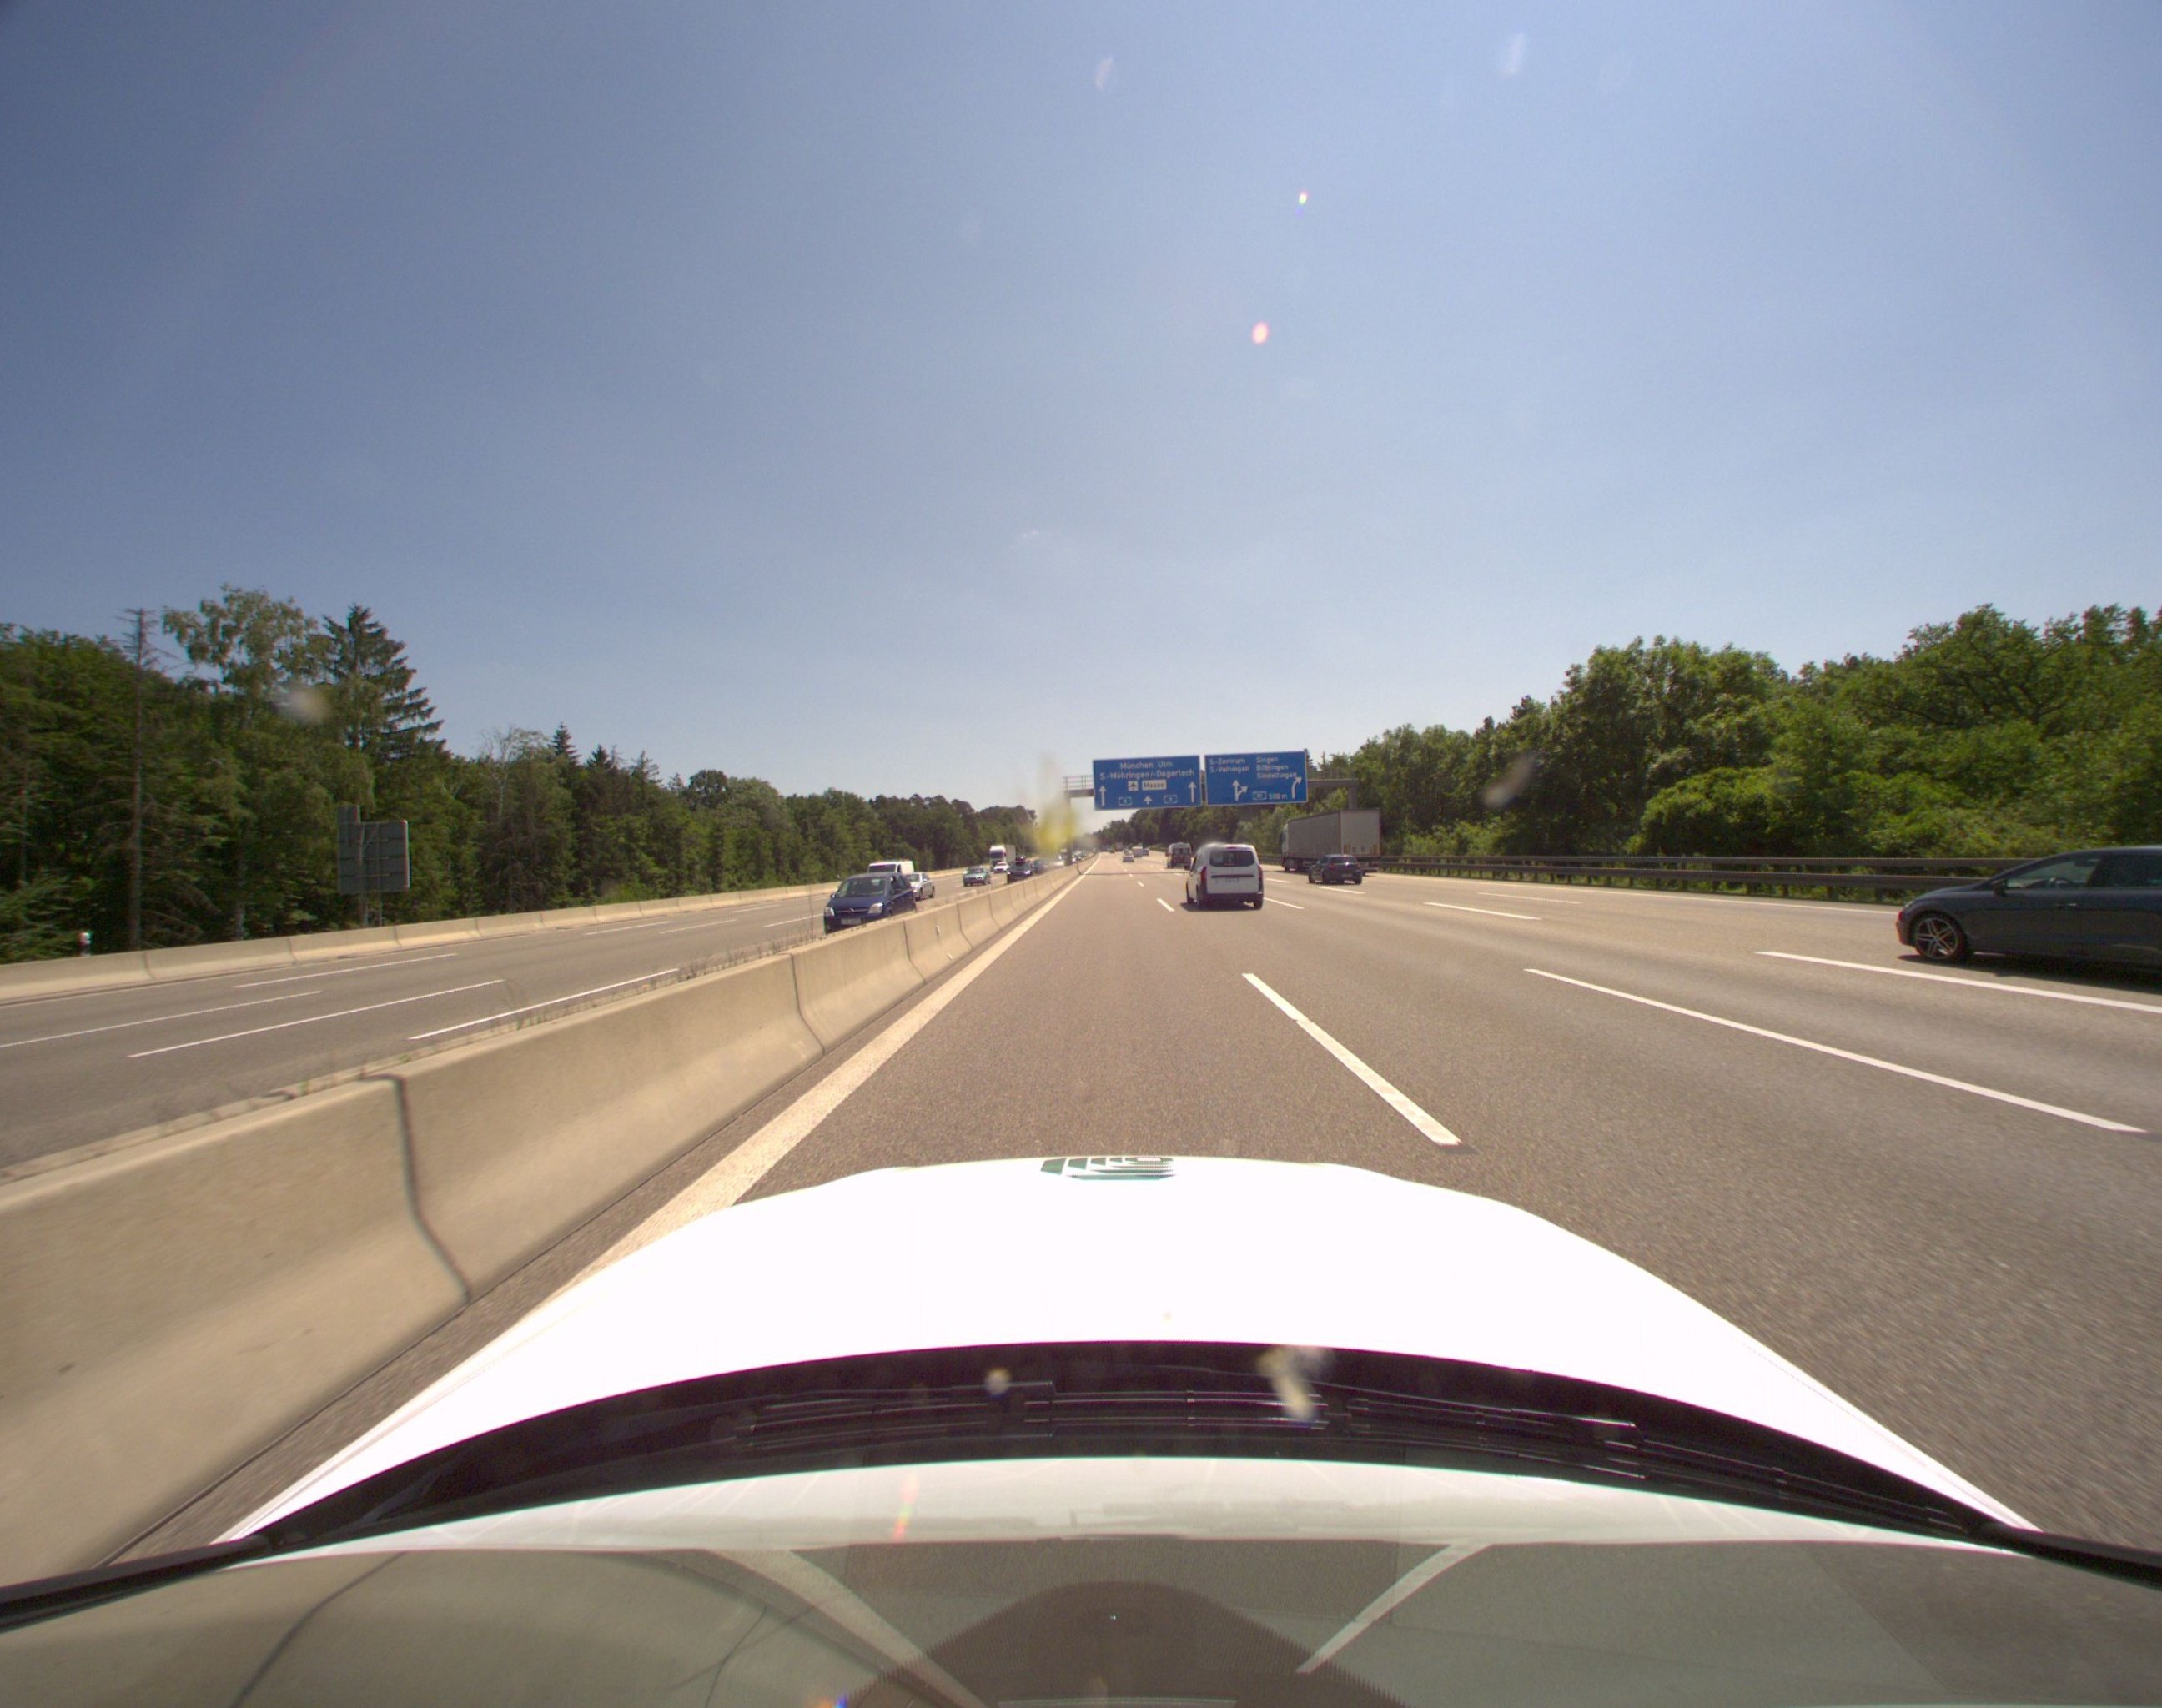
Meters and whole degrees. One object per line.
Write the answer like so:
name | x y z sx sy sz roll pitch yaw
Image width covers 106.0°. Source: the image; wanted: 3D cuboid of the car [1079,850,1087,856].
car | 0.607 -0.180 234.184 1.986 1.618 4.002 -3 0 2

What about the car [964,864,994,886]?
car | -7.803 1.595 62.451 1.543 1.455 3.841 -4 0 2

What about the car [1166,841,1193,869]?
car | 10.099 0.077 83.743 2.135 2.652 5.712 -2 0 2

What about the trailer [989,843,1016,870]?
trailer | -13.230 0.536 138.478 2.744 4.246 13.724 -3 -1 2

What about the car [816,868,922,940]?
car | -5.609 1.266 21.999 1.698 1.662 3.761 -3 0 2

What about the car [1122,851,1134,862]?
car | 7.713 0.425 133.458 1.836 1.629 4.555 -3 -1 2

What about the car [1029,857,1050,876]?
car | -4.132 1.226 81.727 1.748 1.673 4.203 -3 0 0

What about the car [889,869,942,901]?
car | -8.644 1.594 42.969 1.672 1.444 4.528 -4 0 2

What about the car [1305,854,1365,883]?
car | 12.005 0.667 38.746 1.664 1.273 4.292 -1 0 2

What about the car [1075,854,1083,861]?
car | -0.486 0.811 185.745 1.718 1.537 5.054 -3 0 0

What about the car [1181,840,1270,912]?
car | 4.148 0.611 24.128 1.853 1.826 4.613 -3 -1 2

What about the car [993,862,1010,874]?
car | -10.713 1.858 109.719 1.657 1.455 3.841 -4 0 2

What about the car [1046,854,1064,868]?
car | -3.282 0.896 103.185 1.805 1.673 4.478 -3 0 2

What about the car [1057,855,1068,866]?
car | -2.859 0.970 127.137 1.531 1.550 4.071 -3 0 1

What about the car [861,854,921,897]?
car | -12.164 1.352 52.638 1.923 2.413 6.628 -5 -1 2

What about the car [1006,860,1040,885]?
car | -4.280 1.342 60.861 1.863 1.606 5.231 -4 0 2

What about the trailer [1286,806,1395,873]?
trailer | 17.280 -0.832 55.731 3.276 3.931 13.893 -1 0 1

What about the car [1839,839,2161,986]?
car | 11.416 0.555 9.114 1.637 1.438 4.637 -1 0 1

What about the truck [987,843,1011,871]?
truck | -13.422 0.513 133.775 2.749 4.220 6.380 -3 -1 2

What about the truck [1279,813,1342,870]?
truck | 17.452 -0.893 62.391 3.242 4.106 5.990 -1 0 2

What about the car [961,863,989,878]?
car | -10.698 1.642 82.561 1.985 1.306 4.847 -3 0 2

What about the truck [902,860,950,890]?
truck | -13.353 1.776 70.693 2.501 2.245 6.443 -4 0 2

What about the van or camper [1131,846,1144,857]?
van or camper | 13.299 -0.553 192.796 2.635 2.539 6.504 -3 -1 2

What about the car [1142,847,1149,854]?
car | 17.197 -0.852 217.497 1.813 1.859 4.002 -3 0 2
